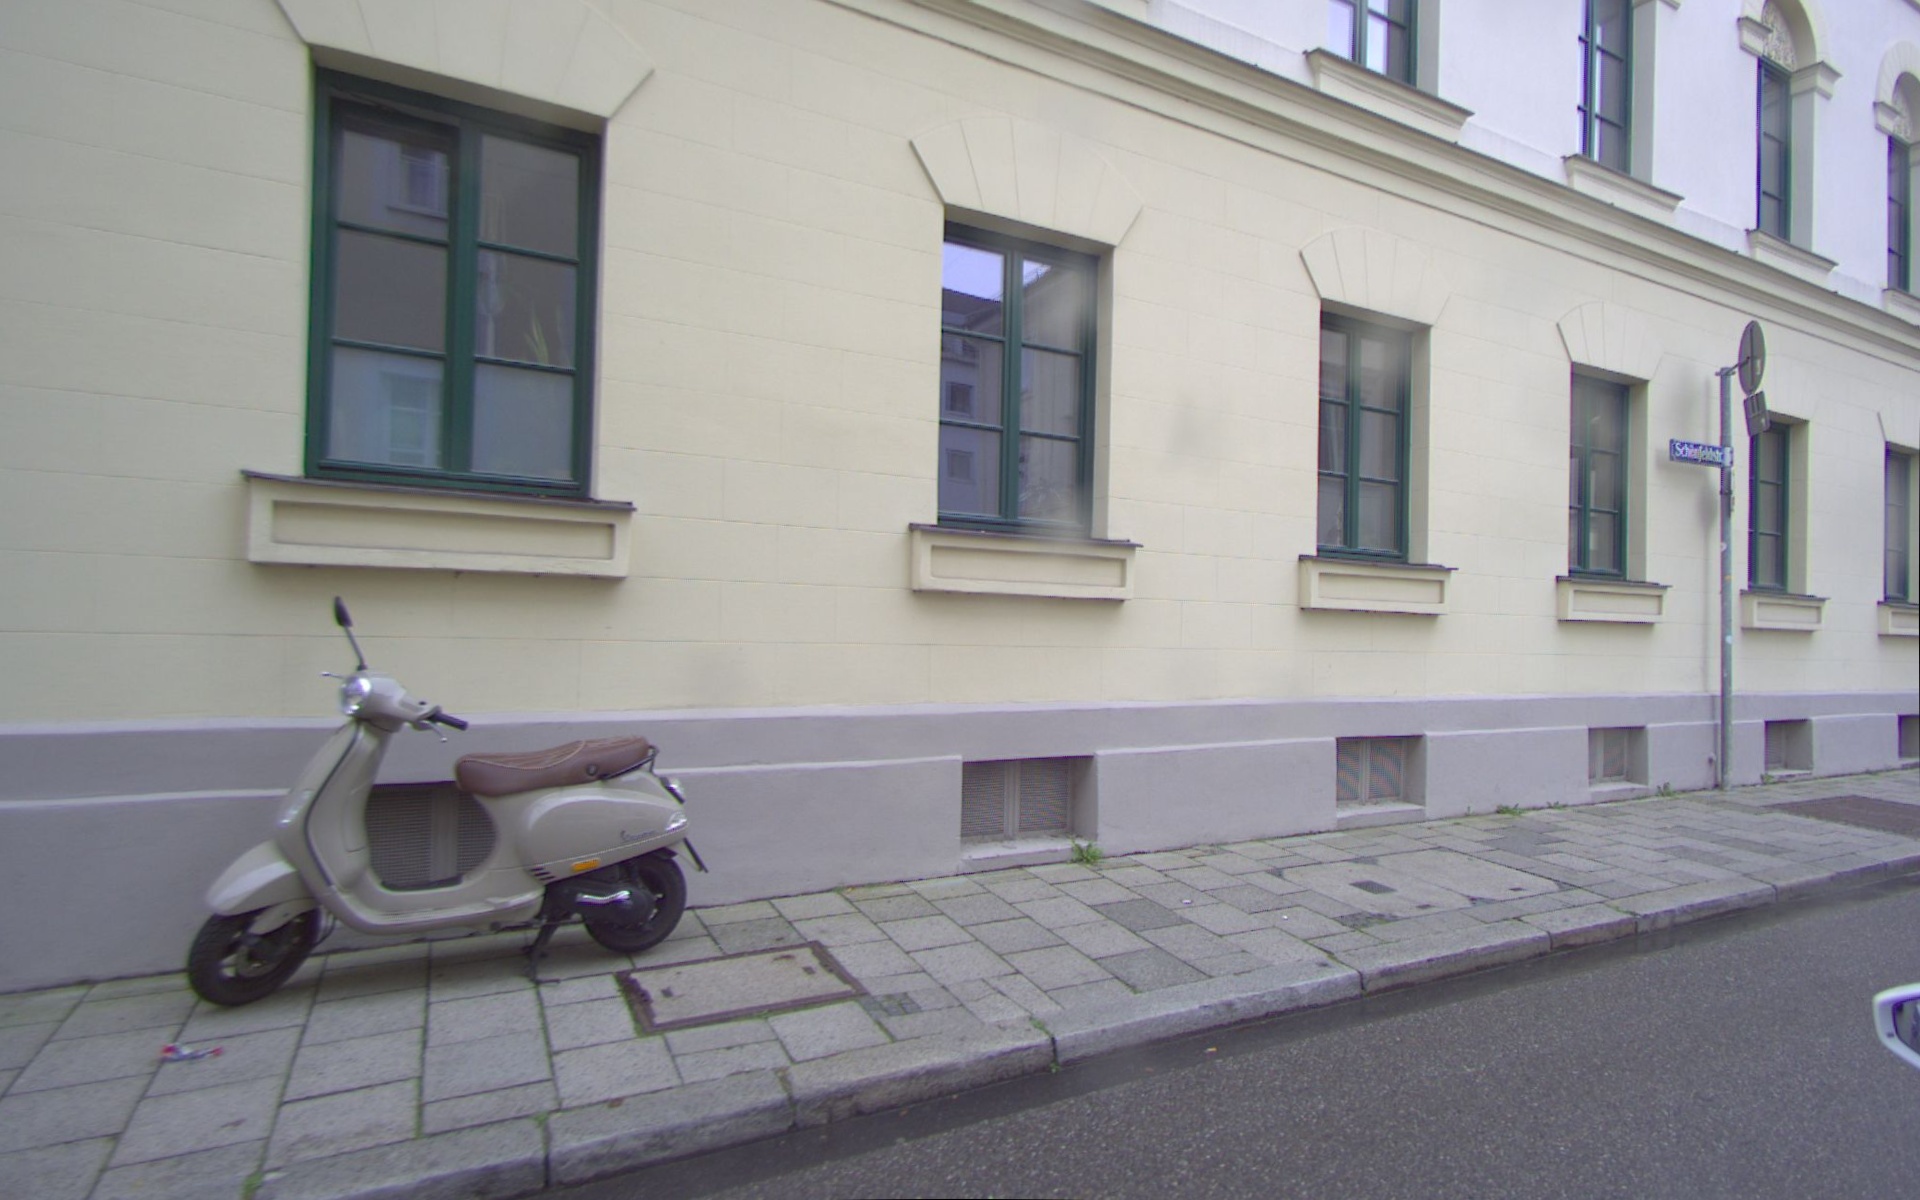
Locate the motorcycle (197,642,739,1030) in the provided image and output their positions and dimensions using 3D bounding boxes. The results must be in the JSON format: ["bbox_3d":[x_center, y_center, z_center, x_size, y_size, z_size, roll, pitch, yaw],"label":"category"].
[{"bbox_3d":[-1.758,0.773,3.802,1.687,1.189,0.600,2,-1,-28],"label":"motorcycle"}]
